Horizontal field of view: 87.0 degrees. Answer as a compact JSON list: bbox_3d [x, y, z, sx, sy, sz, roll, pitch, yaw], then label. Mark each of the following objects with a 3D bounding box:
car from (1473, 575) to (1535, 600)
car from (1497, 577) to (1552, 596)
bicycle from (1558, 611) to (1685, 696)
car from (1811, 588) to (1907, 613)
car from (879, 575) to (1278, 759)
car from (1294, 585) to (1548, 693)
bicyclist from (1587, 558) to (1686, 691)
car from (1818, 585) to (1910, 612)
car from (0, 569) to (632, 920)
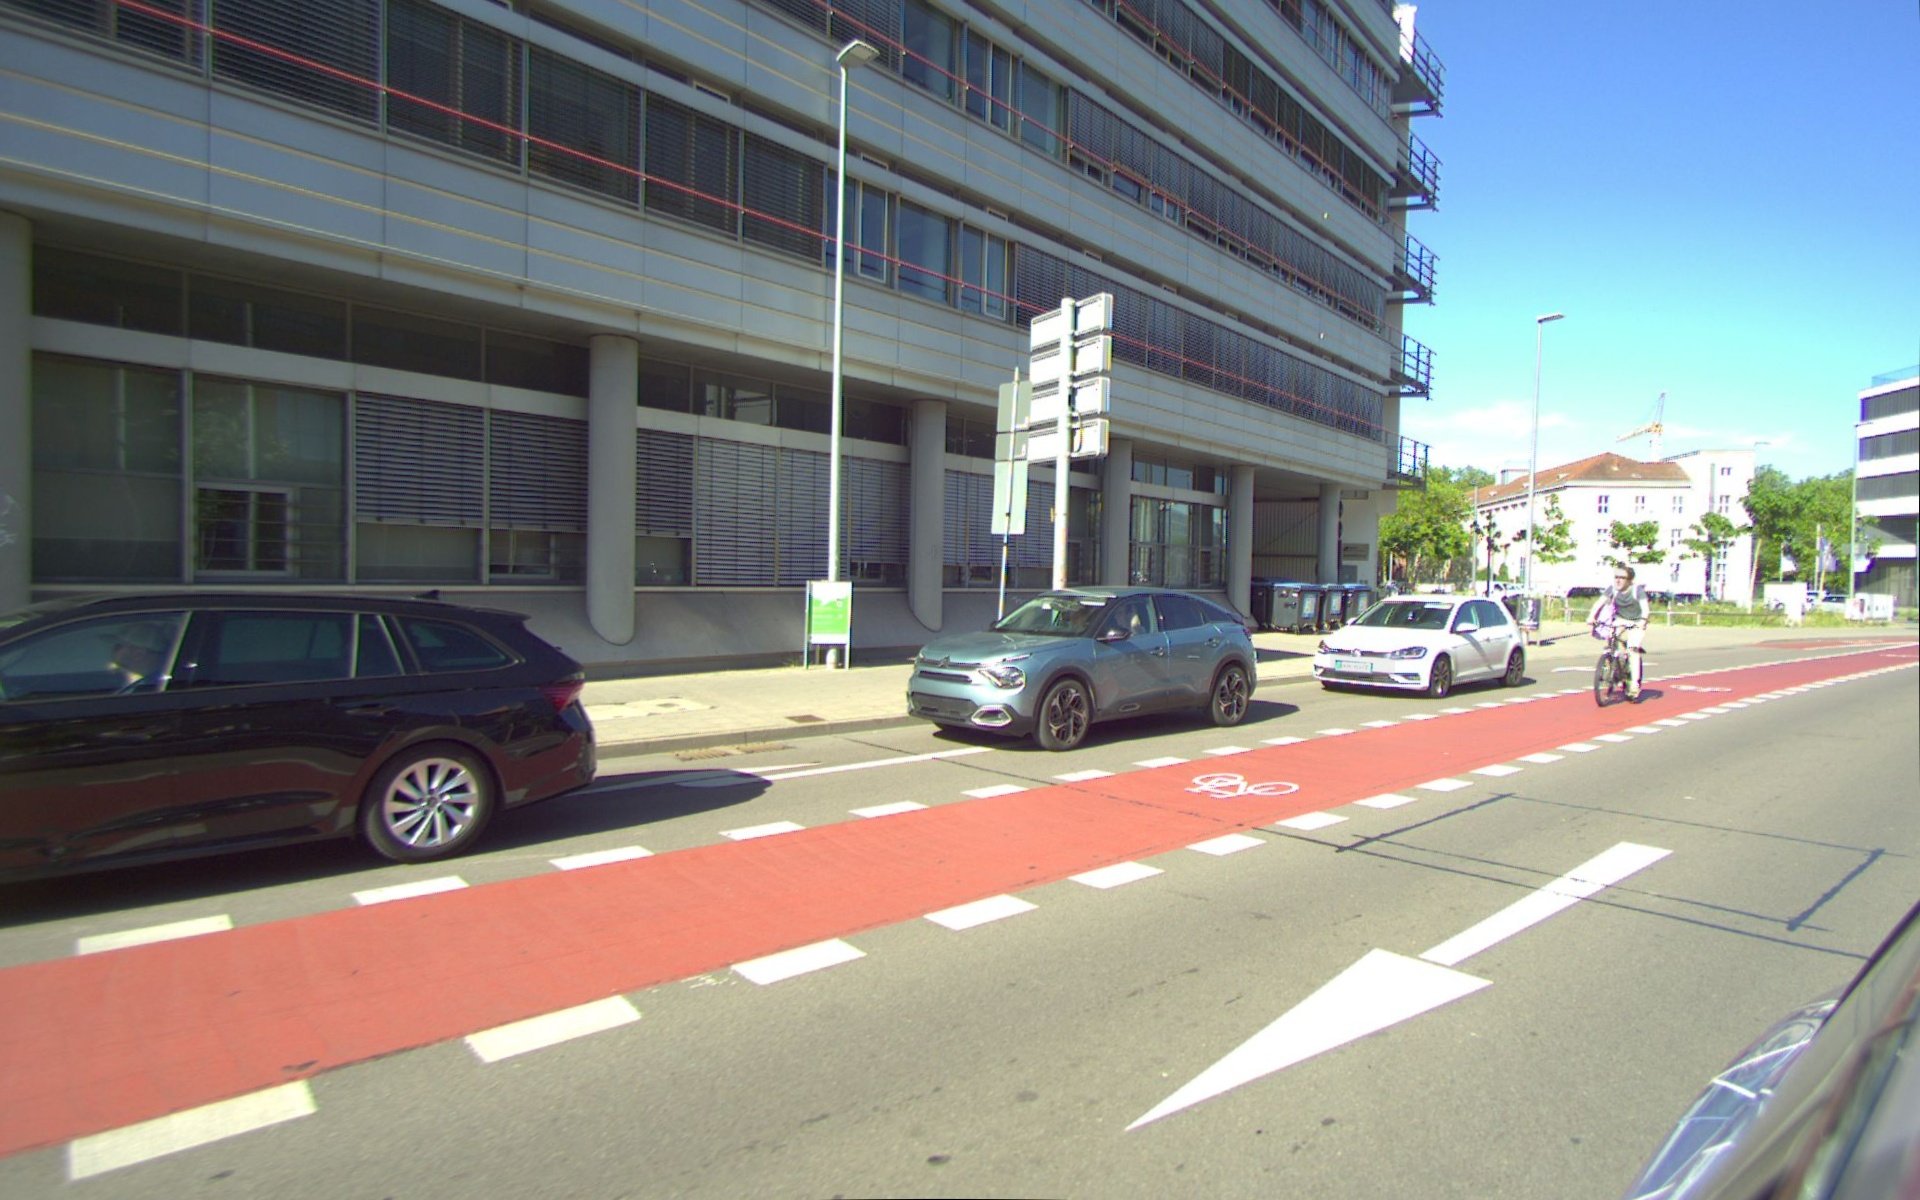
[{"bbox_3d":[47.350,-1.097,88.212,1.835,2.006,4.665,0,2,-21],"label":"car"},{"bbox_3d":[50.336,-1.208,90.358,1.835,1.575,4.009,0,2,-21],"label":"car"},{"bbox_3d":[9.022,0.688,13.784,1.856,1.050,0.828,0,0,-36],"label":"bicycle"},{"bbox_3d":[60.546,0.013,68.270,1.803,1.448,4.493,-1,3,-25],"label":"car"},{"bbox_3d":[1.398,0.543,10.667,4.322,1.543,1.725,0,2,-41],"label":"car"},{"bbox_3d":[7.044,0.501,15.292,4.216,1.421,1.777,0,0,-39],"label":"car"},{"bbox_3d":[9.122,0.312,13.648,1.031,1.714,0.809,0,0,-35],"label":"bicyclist"},{"bbox_3d":[57.925,-0.137,64.924,1.836,1.575,4.009,0,2,-23],"label":"car"},{"bbox_3d":[-4.235,0.584,5.203,4.558,1.440,1.724,-1,3,-42],"label":"car"}]
